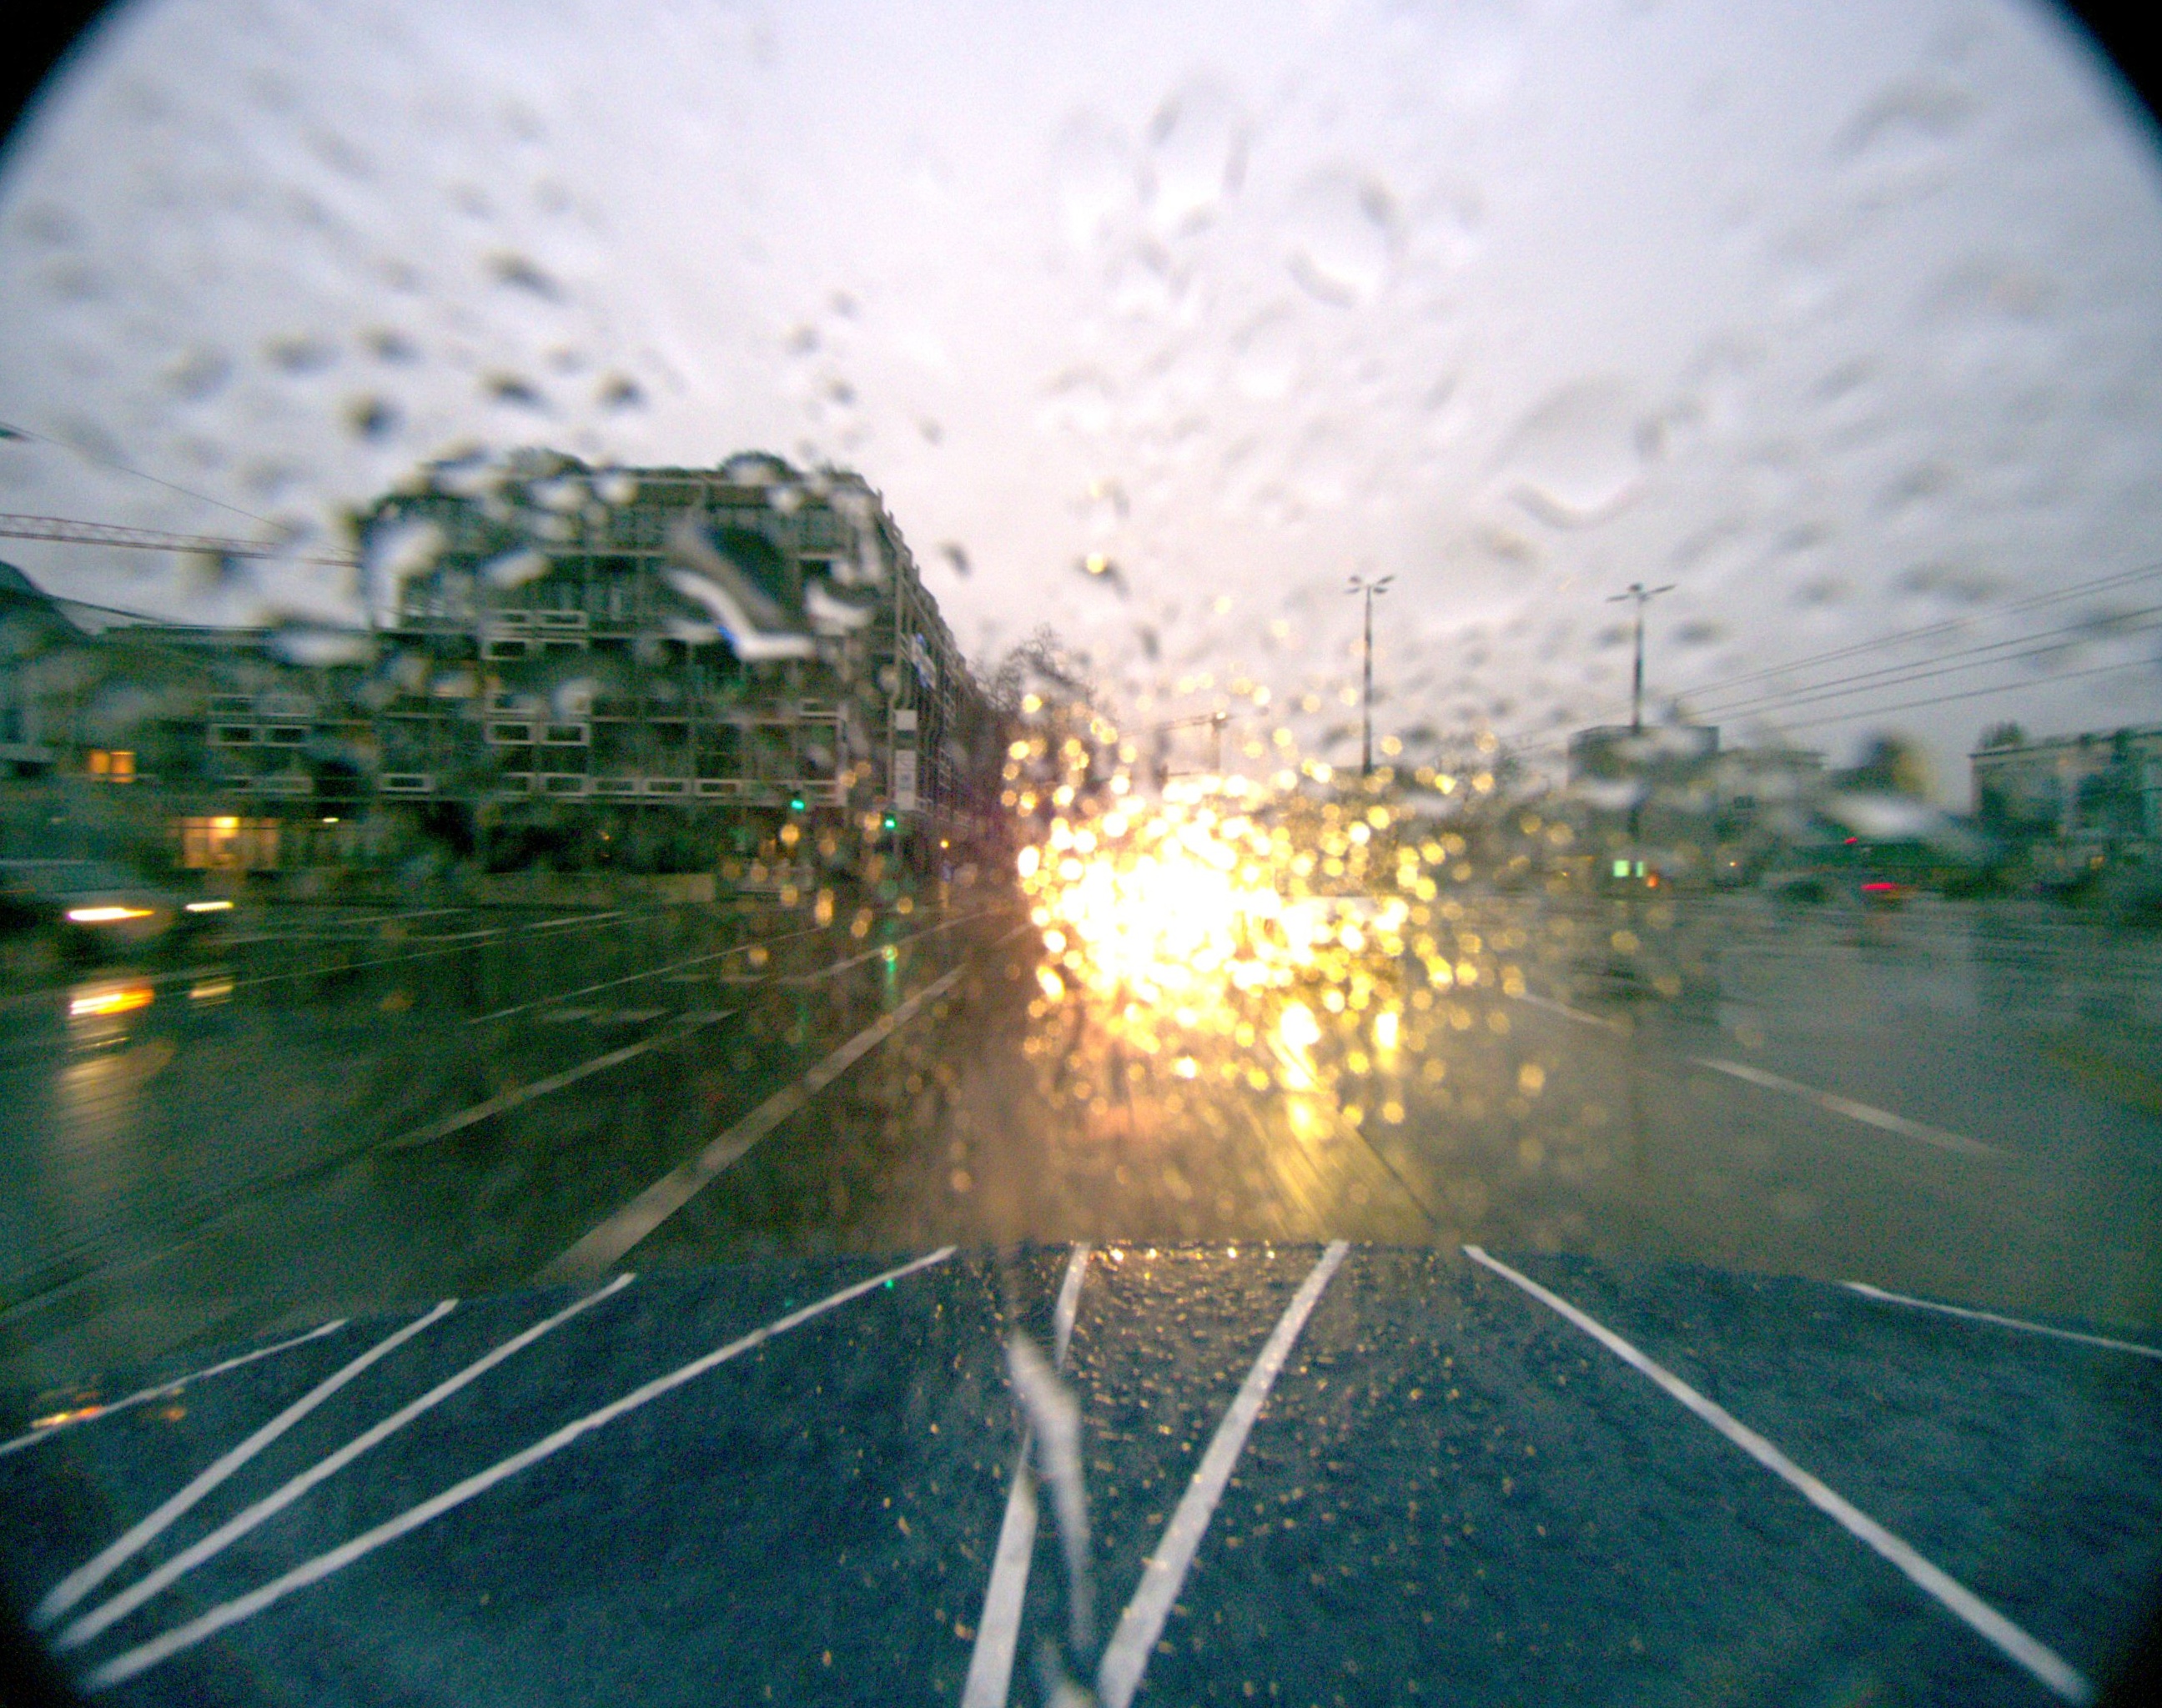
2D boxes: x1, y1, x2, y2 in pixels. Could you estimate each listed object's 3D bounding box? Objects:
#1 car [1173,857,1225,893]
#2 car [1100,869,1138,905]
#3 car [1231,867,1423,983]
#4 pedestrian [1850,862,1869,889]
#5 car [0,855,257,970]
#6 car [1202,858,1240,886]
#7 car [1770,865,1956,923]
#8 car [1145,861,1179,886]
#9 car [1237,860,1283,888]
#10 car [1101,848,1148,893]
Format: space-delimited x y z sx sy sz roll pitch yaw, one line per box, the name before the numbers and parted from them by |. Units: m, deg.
car | 5.835 1.010 38.025 1.998 1.673 4.000 0 0 0
car | 2.228 1.940 45.463 1.999 2.002 3.999 0 0 -1
car | 3.611 0.961 11.963 1.814 1.464 4.140 0 0 2
pedestrian | 47.405 1.308 46.255 0.655 1.655 0.743 1 1 35
car | -15.469 0.823 11.572 3.825 1.483 1.857 1 2 1
car | 9.769 1.221 53.235 1.952 1.870 4.000 -1 -1 0
car | 30.366 1.464 29.751 2.000 2.002 4.788 0 0 -9
car | 5.626 1.318 53.327 1.868 1.652 3.986 0 0 -1
car | 10.402 1.145 44.430 1.800 1.521 3.929 -1 -1 0
car | 1.863 0.703 33.695 1.865 1.867 4.000 0 0 0
